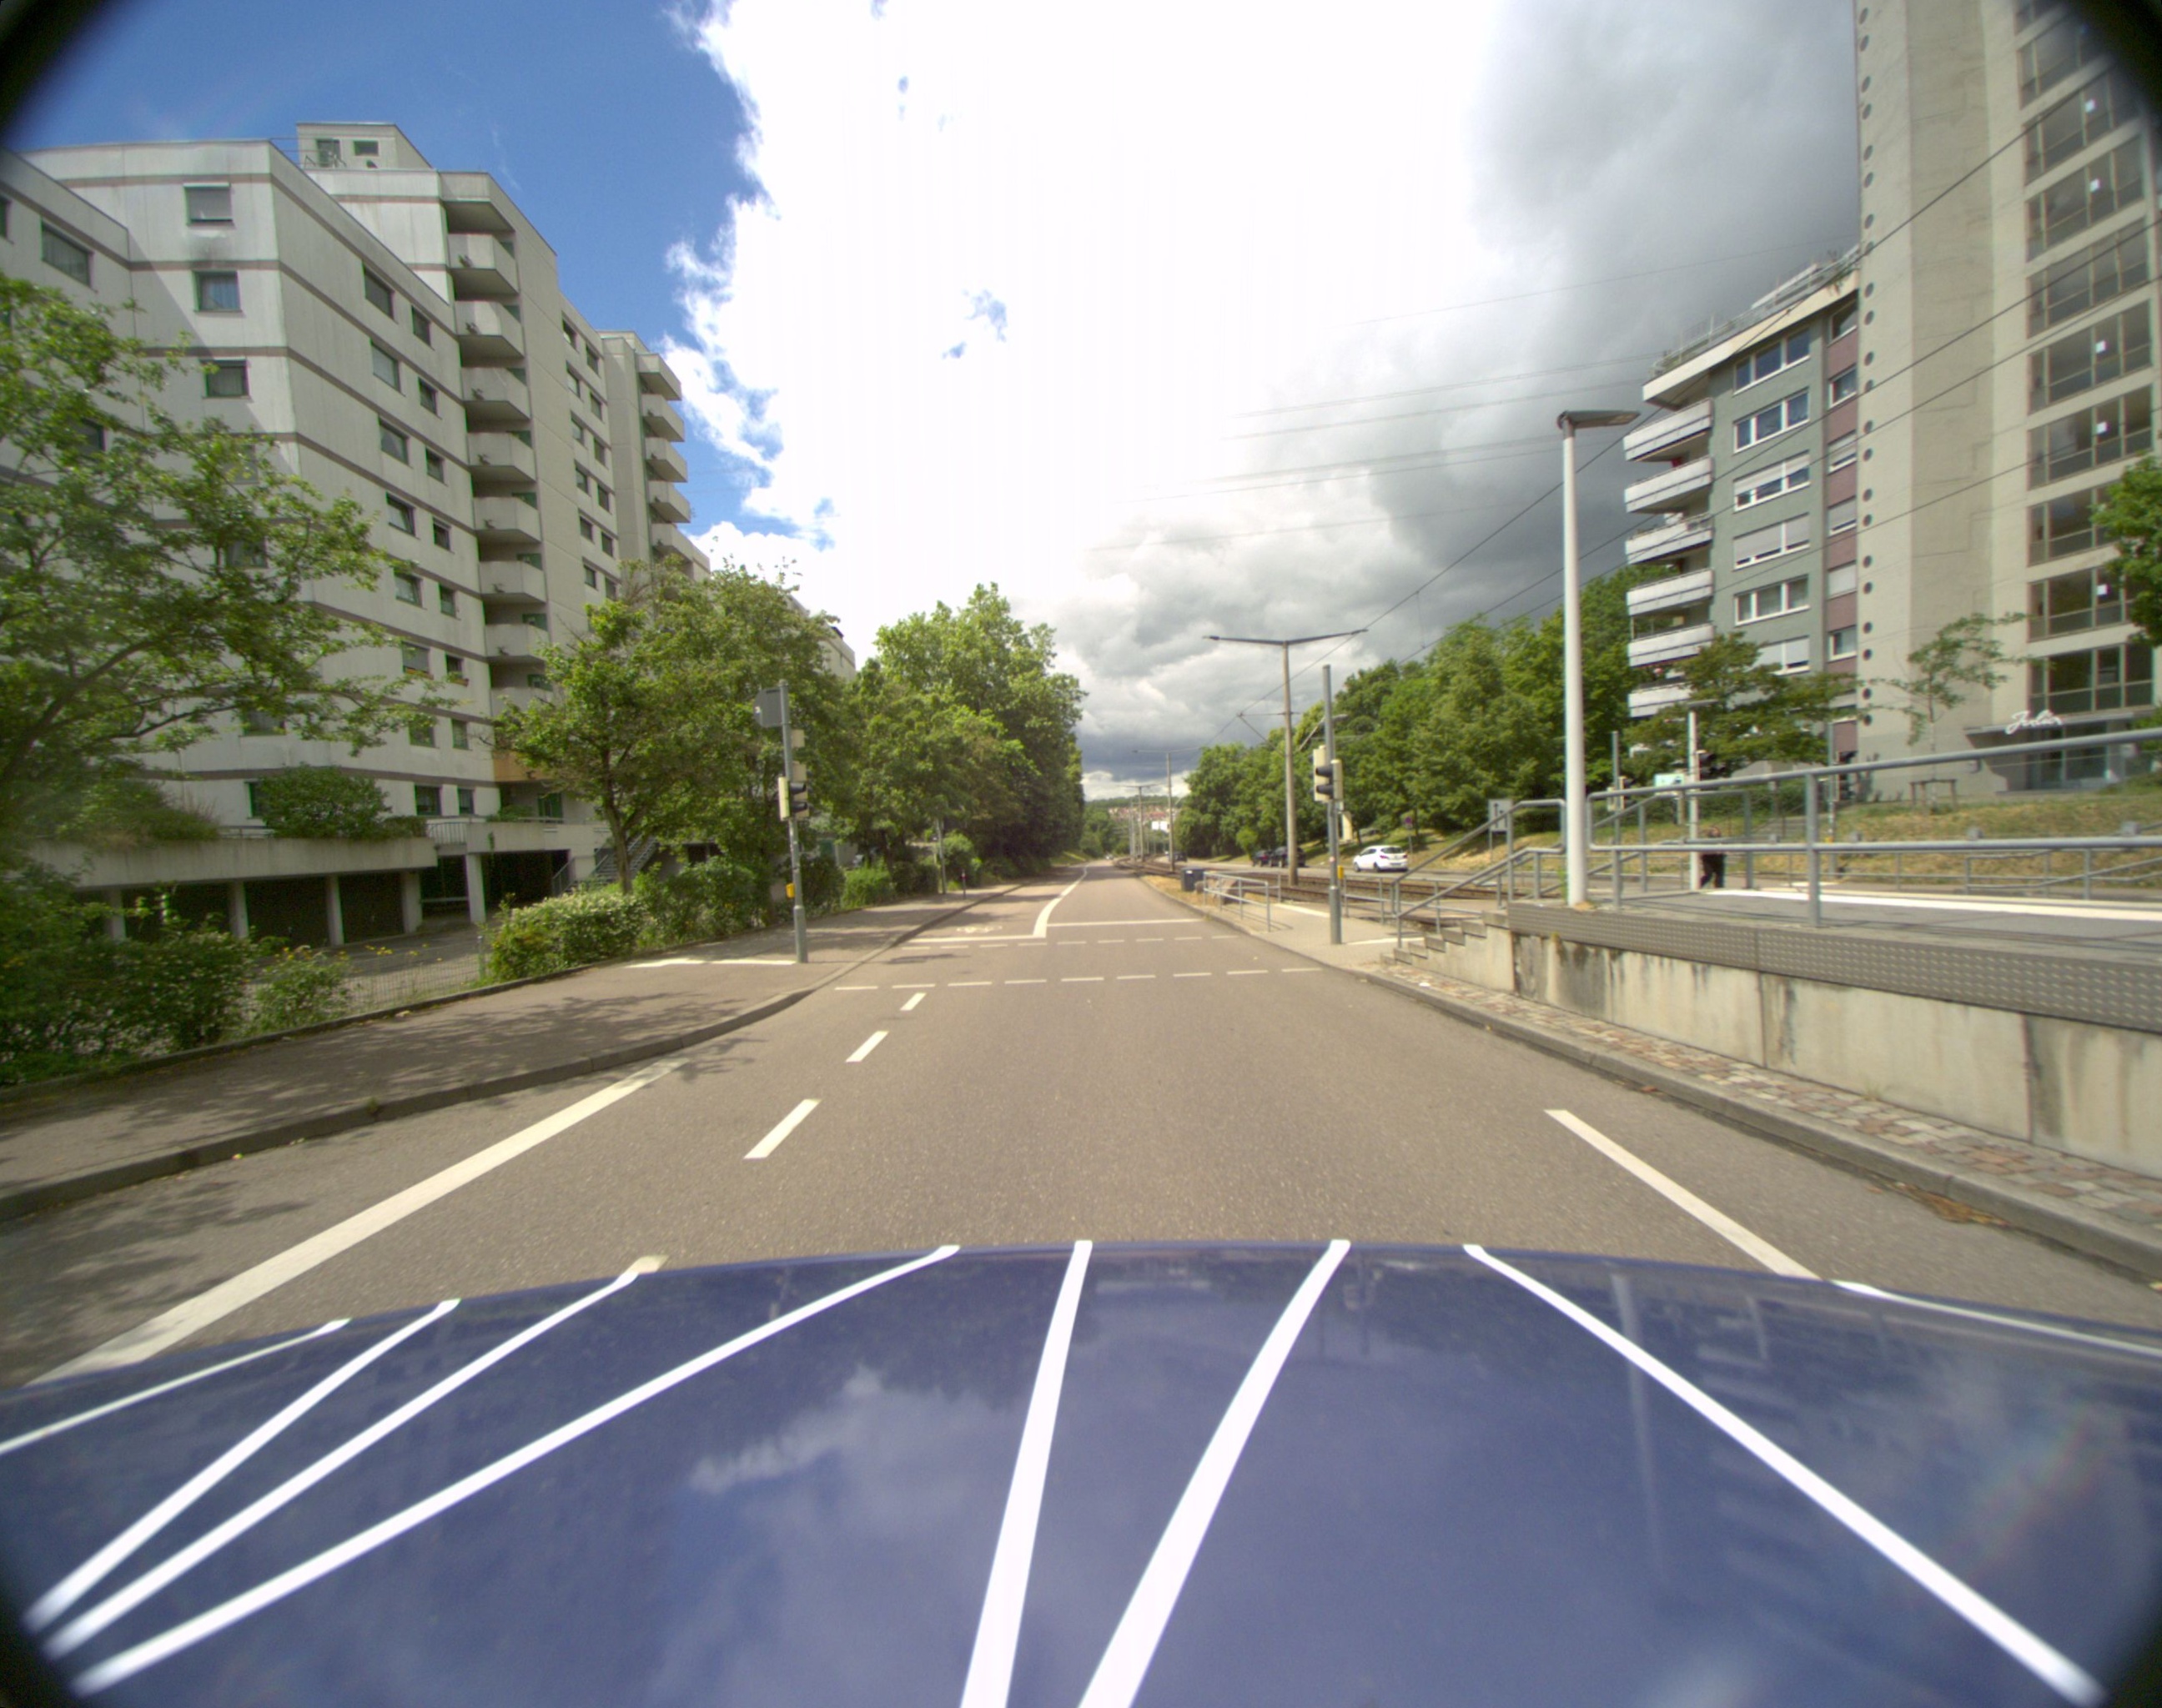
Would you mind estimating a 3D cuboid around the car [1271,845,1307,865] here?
[{"bbox_3d":[16.088,0.072,58.850,1.659,1.503,3.737,-2,0,-1],"label":"car"}]

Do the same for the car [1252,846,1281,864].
[{"bbox_3d":[16.010,0.085,65.747,1.605,1.431,3.469,-2,0,-1],"label":"car"}]

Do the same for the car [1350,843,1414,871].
[{"bbox_3d":[16.580,0.158,42.029,1.659,1.410,3.998,-2,0,-4],"label":"car"}]

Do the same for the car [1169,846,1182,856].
[{"bbox_3d":[15.457,-0.488,124.290,1.636,1.446,3.737,-2,0,-1],"label":"car"}]

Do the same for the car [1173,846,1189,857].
[{"bbox_3d":[14.164,-0.338,107.815,1.659,1.503,3.737,-2,0,-1],"label":"car"}]

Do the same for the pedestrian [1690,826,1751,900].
[{"bbox_3d":[13.901,0.188,16.532,0.690,1.554,0.825,-3,1,16],"label":"pedestrian"}]
